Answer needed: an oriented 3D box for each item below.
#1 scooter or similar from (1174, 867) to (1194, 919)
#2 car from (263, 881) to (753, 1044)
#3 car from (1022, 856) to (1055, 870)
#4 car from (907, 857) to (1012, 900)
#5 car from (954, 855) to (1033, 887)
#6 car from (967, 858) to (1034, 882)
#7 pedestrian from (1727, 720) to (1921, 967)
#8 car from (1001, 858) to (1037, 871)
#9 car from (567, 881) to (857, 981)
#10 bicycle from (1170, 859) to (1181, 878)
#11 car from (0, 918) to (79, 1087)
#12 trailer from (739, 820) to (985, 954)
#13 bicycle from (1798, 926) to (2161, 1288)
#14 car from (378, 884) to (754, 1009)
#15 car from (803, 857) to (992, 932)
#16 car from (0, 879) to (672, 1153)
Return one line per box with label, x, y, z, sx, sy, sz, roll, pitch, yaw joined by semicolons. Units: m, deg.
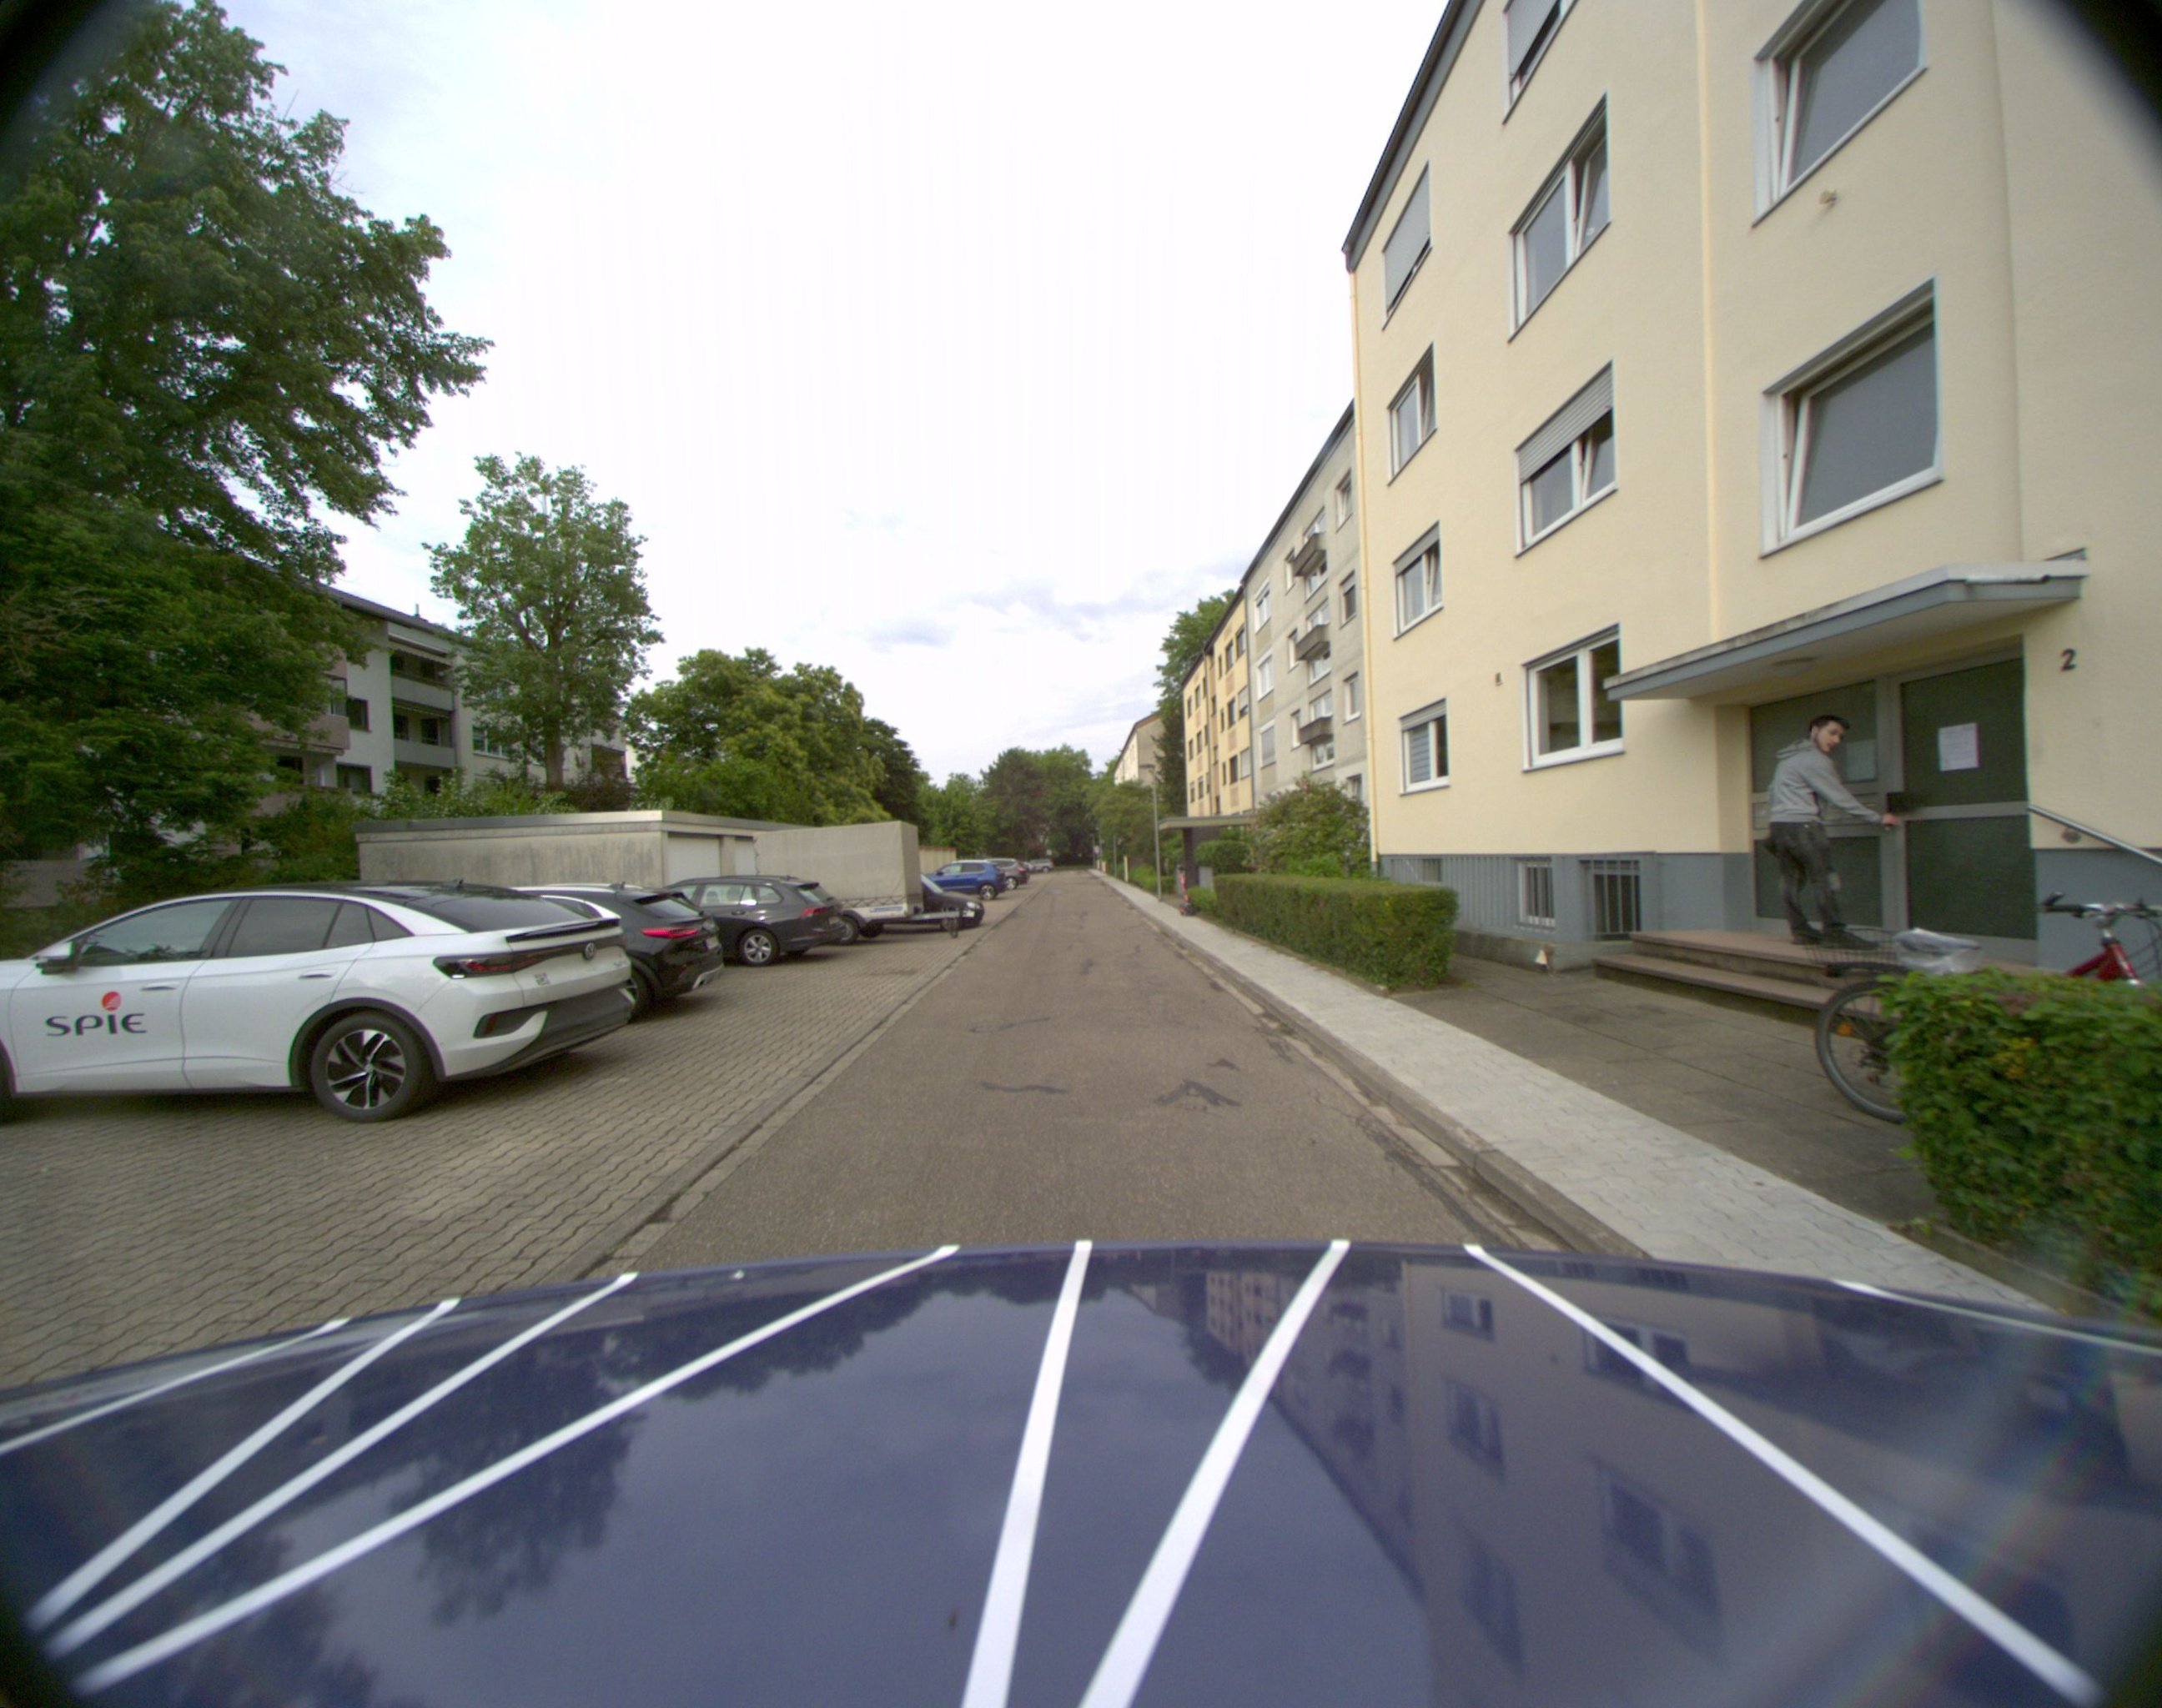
scooter or similar;2.541;0.943;18.734;0.273;1.203;1.164;-2;0;-1
car;-6.152;1.119;8.632;3.998;1.543;1.999;0;0;-3
car;-5.231;1.128;93.866;4.104;1.636;1.787;-1;1;-2
car;-4.905;0.977;31.174;3.997;1.693;2.000;0;0;-1
car;-4.870;0.944;42.731;4.206;1.717;2.000;0;0;-1
car;-5.355;1.055;50.860;4.299;1.576;1.935;0;0;-2
pedestrian;5.654;-0.077;5.828;0.681;1.739;0.756;-3;1;-4
car;-7.204;1.207;88.777;4.104;1.476;1.787;-1;1;-2
car;-6.170;1.265;13.040;4.138;1.440;1.612;-2;0;-1
bicycle;5.360;0.825;43.018;0.315;1.045;1.691;-1;-2;-2
car;-11.011;1.326;5.840;3.907;1.372;1.971;-2;0;-1
trailer;-4.563;0.671;16.378;4.621;2.510;1.942;-2;0;0
bicycle;3.742;0.904;3.070;0.319;1.069;1.418;-3;1;0
car;-7.078;1.237;10.763;4.005;1.440;1.915;-2;0;2
car;-4.512;0.989;19.271;4.322;1.791;2.000;0;0;-1
car;-5.948;1.083;5.788;4.548;1.579;1.988;-2;0;1
